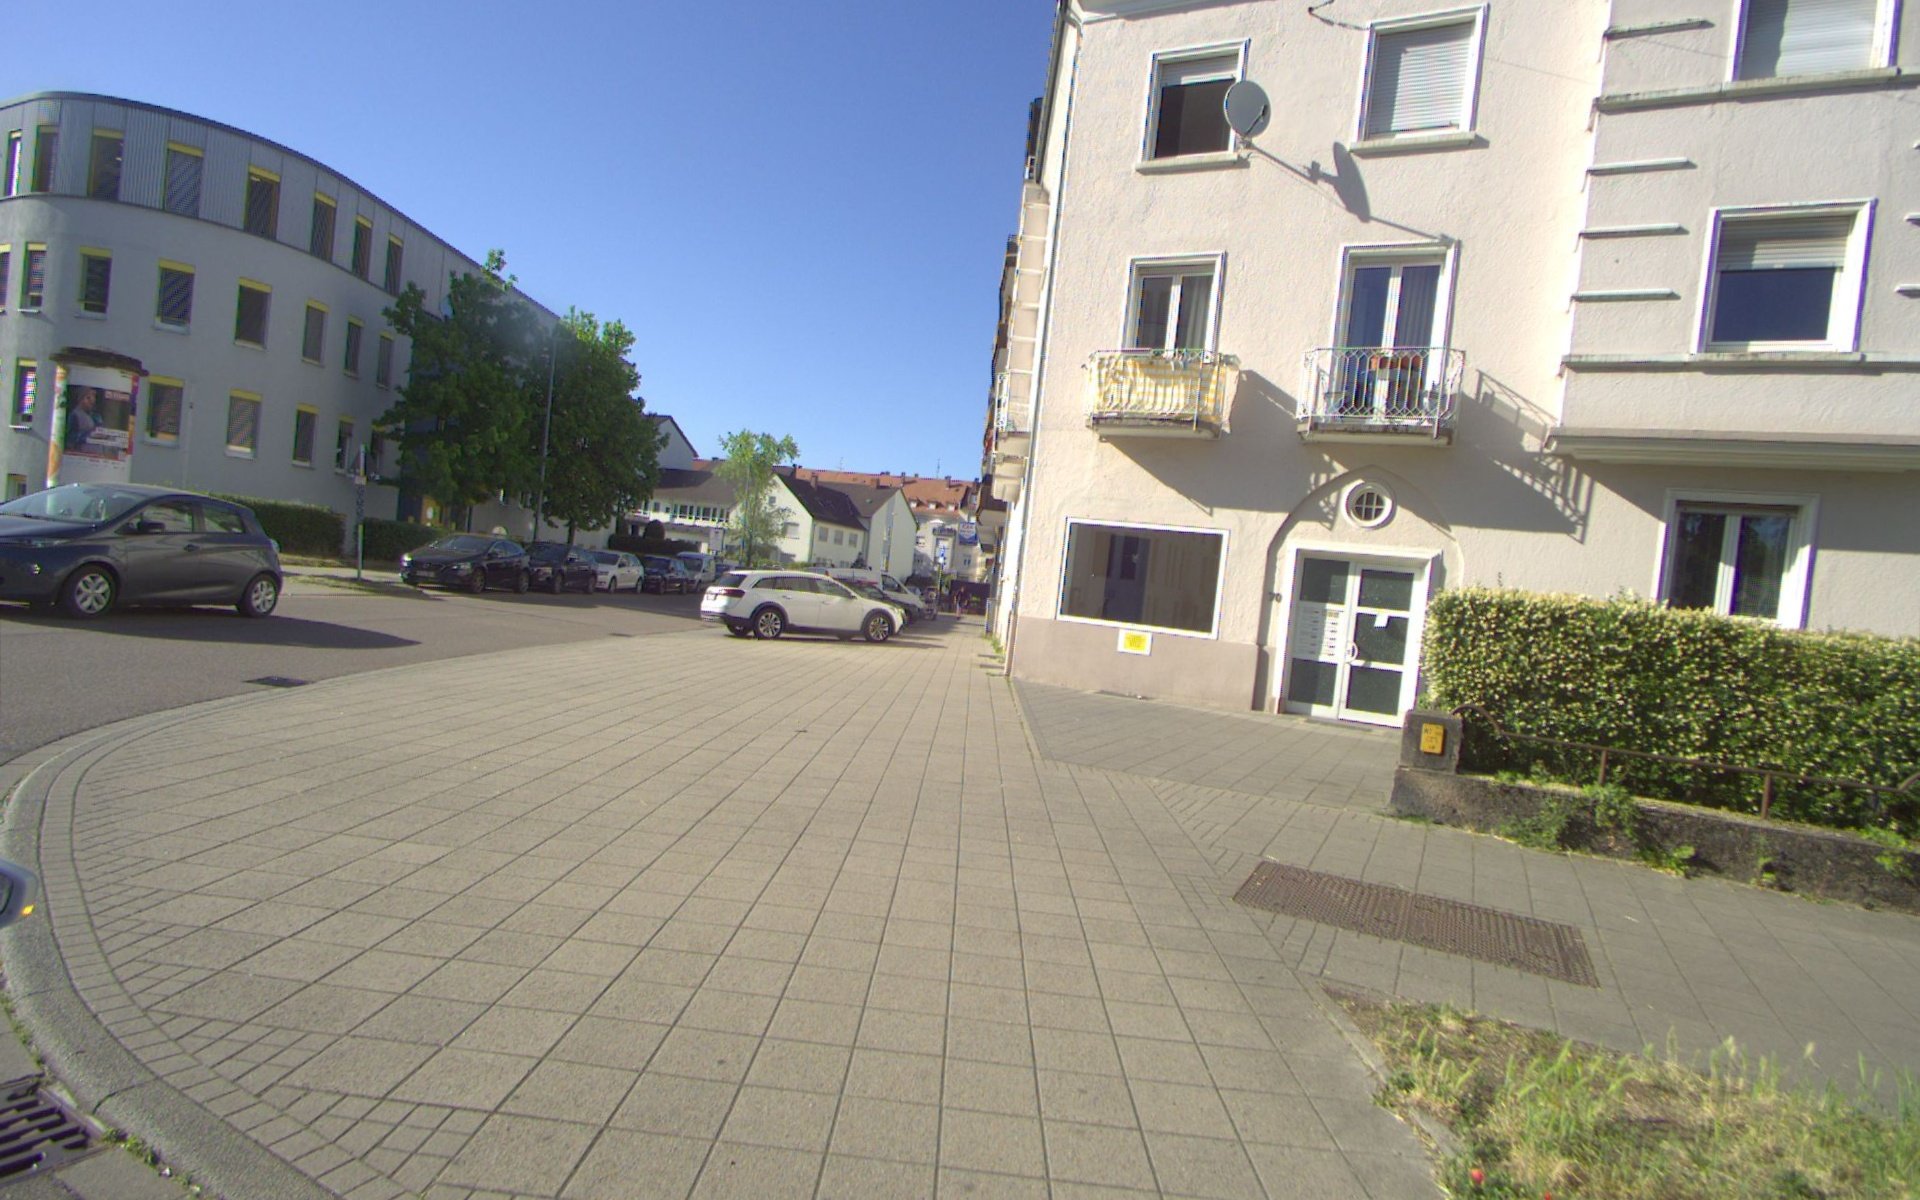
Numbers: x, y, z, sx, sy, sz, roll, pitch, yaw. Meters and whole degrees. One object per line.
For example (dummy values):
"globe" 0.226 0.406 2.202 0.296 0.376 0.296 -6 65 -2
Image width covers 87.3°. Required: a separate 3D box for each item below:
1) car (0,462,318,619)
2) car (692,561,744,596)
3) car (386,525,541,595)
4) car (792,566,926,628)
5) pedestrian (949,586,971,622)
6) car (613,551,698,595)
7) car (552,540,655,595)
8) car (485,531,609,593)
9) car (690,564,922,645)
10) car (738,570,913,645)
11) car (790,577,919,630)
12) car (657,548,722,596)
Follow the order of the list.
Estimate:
"car" -10.097 -0.642 12.168 1.808 1.522 4.139 7 -1 1
"car" -12.090 -1.052 50.516 1.574 1.458 3.998 7 0 -1
"car" -12.541 -0.958 25.722 1.762 1.428 4.221 7 0 -1
"car" -3.685 -0.088 37.215 4.492 1.922 2.028 4 -1 -40
"pedestrian" 0.013 0.193 48.395 0.819 1.614 0.889 6 1 6
"car" -12.197 -1.033 40.616 1.705 1.458 4.610 7 0 3
"car" -12.503 -1.093 35.647 1.879 1.549 4.623 7 0 -1
"car" -12.498 -1.092 30.747 1.879 1.497 4.379 7 0 -1
"car" -3.477 0.131 23.060 4.822 1.484 1.955 4 2 -34
"car" -3.530 0.204 26.680 4.130 1.515 1.807 7 -1 -33
"car" -3.523 0.136 33.787 3.951 1.508 1.605 4 0 -31
"car" -12.244 -1.230 45.736 1.662 1.862 4.338 7 1 -1
